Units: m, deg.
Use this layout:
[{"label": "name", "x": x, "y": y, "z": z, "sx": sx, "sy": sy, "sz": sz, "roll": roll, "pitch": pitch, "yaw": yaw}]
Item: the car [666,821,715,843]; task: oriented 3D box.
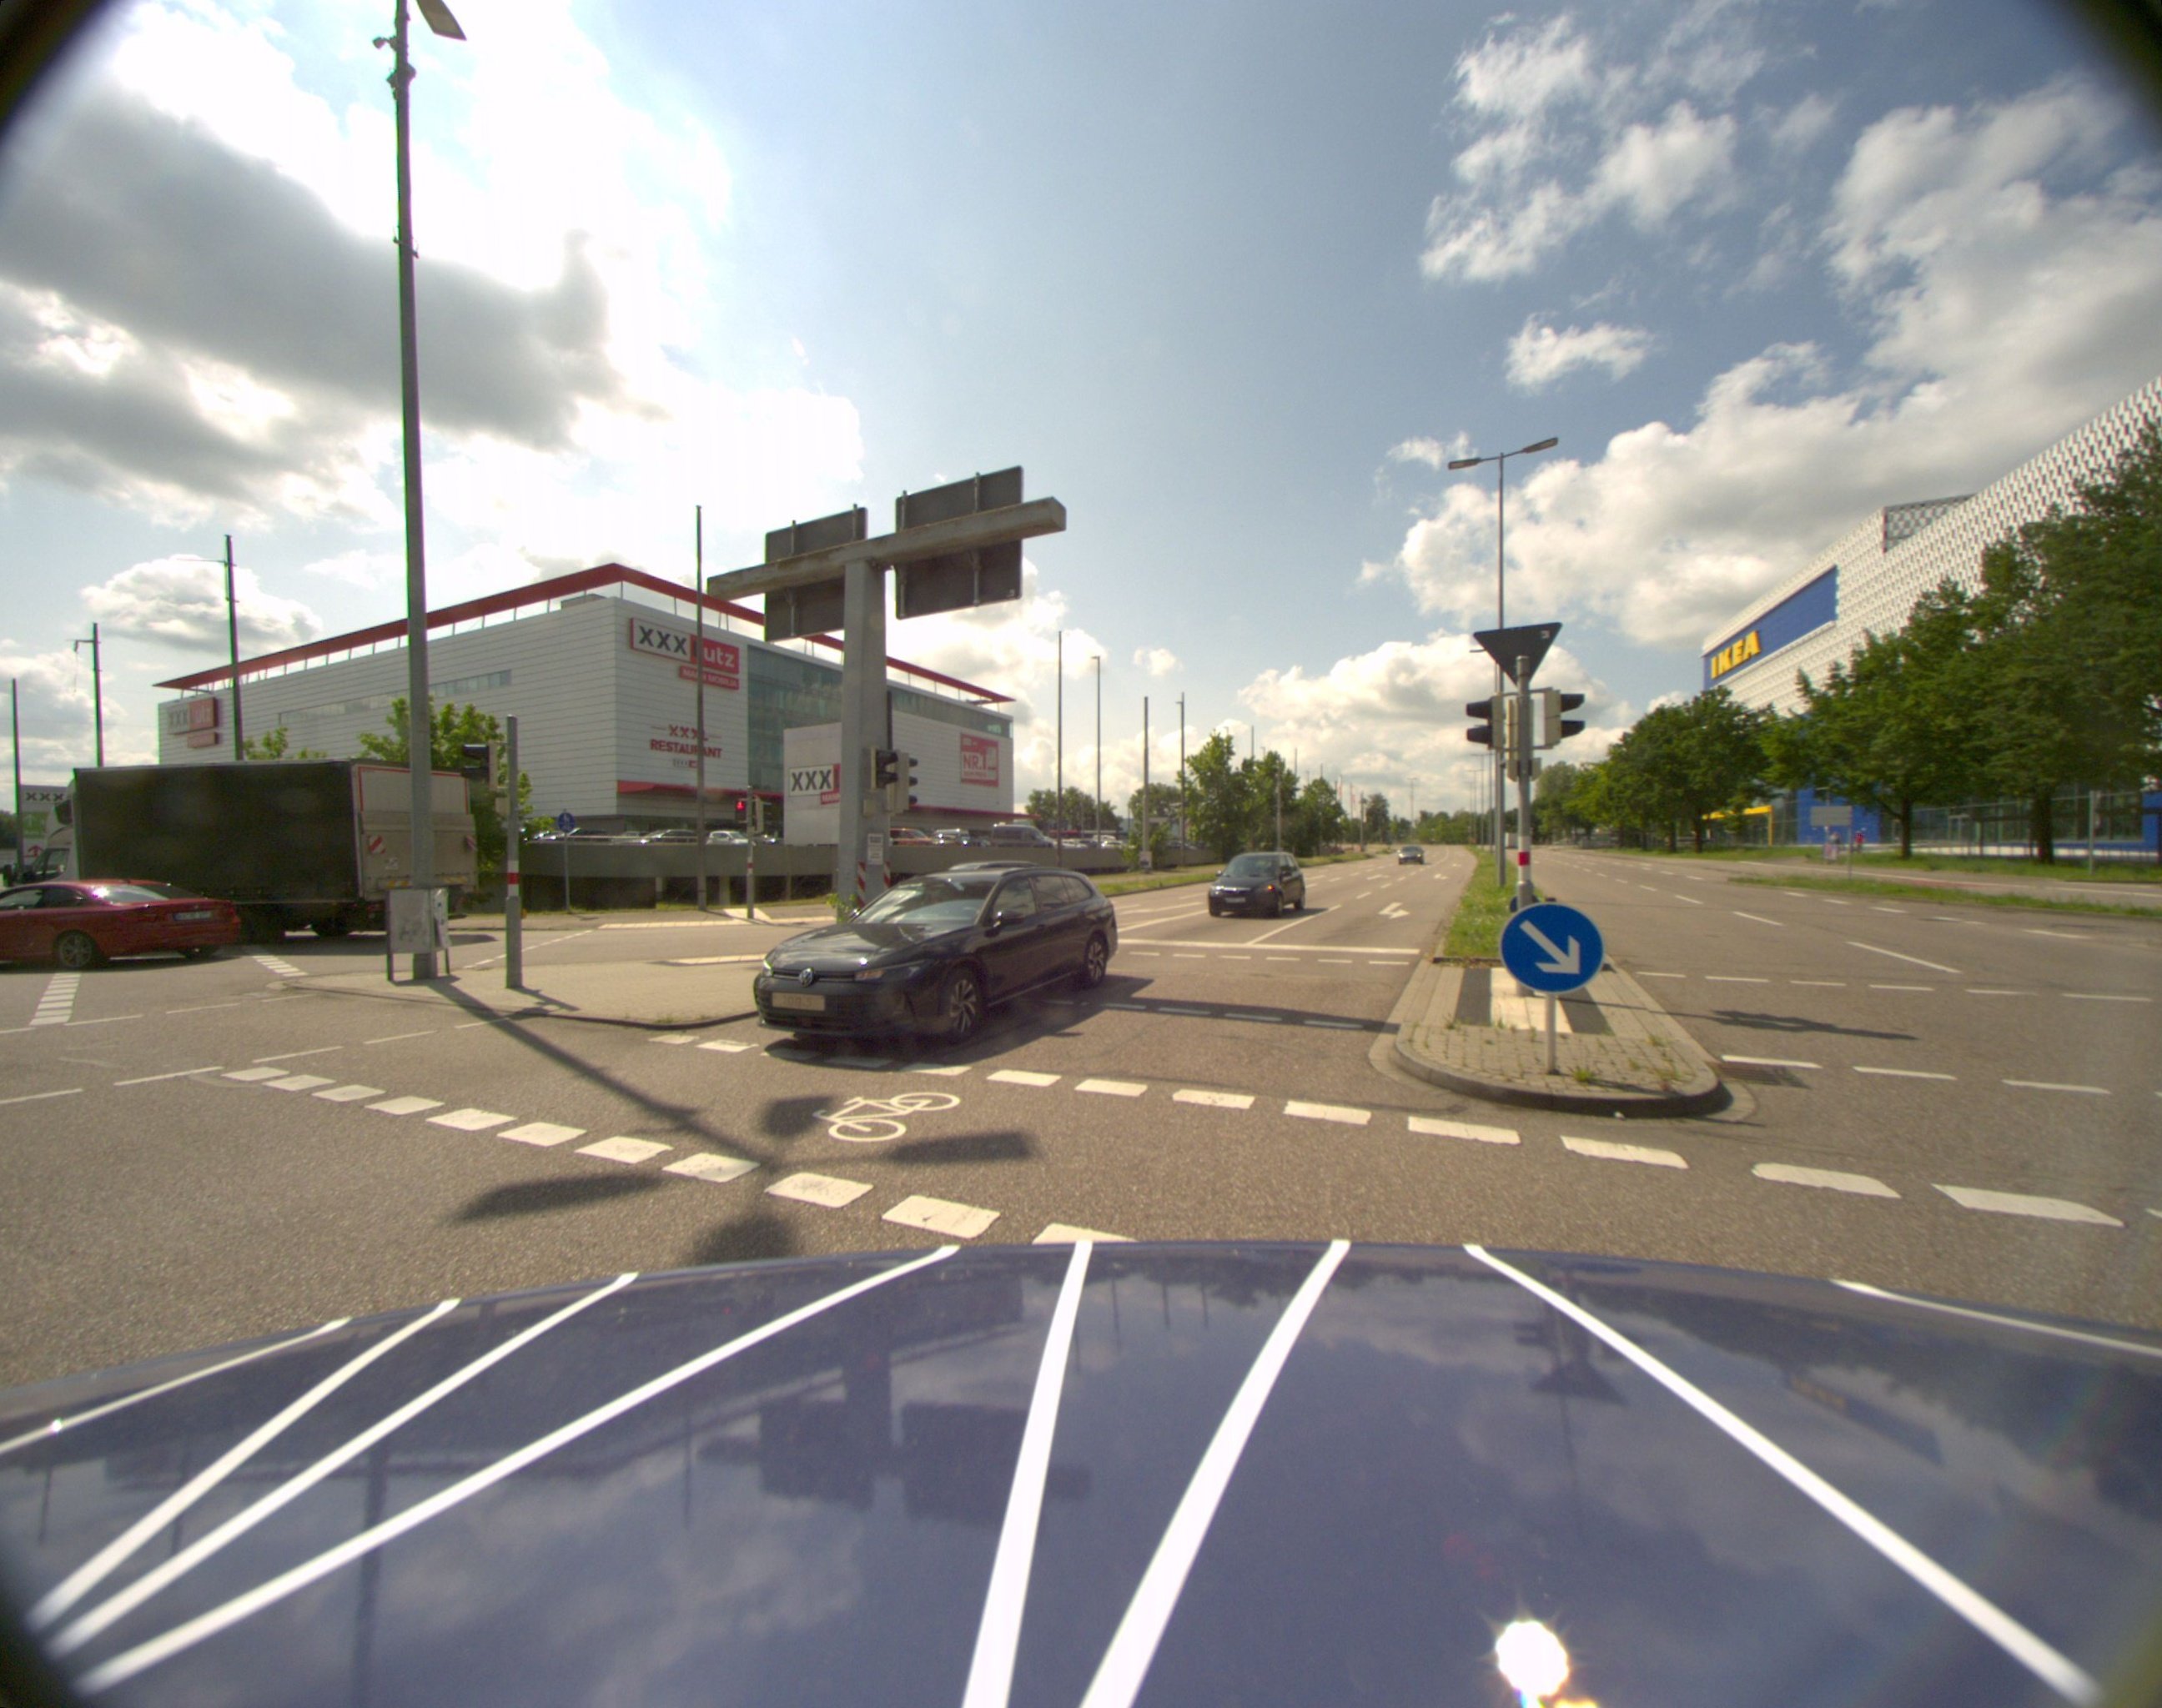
[{"label": "car", "x": -35.525, "y": -1.954, "z": 69.098, "sx": 4.412, "sy": 1.813, "sz": 1.562, "roll": -2, "pitch": 0, "yaw": 25}]

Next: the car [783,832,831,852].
[{"label": "car", "x": -25.766, "y": -1.104, "z": 71.401, "sx": 3.990, "sy": 1.740, "sz": 1.920, "roll": -2, "pitch": 1, "yaw": 27}]

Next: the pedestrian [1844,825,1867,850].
[{"label": "pedestrian", "x": 56.570, "y": -1.206, "z": 55.506, "sx": 0.852, "sy": 1.718, "sz": 1.167, "roll": -2, "pitch": 1, "yaw": 30}]

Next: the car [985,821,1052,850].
[{"label": "car", "x": -5.615, "y": -1.650, "z": 68.375, "sx": 5.785, "sy": 2.270, "sz": 1.752, "roll": -2, "pitch": 1, "yaw": 25}]

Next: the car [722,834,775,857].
[{"label": "car", "x": -28.260, "y": -0.738, "z": 64.600, "sx": 3.990, "sy": 1.740, "sz": 1.920, "roll": -2, "pitch": 1, "yaw": 27}]

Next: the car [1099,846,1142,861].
[{"label": "car", "x": 4.517, "y": -0.075, "z": 86.170, "sx": 4.412, "sy": 1.596, "sz": 1.958, "roll": -2, "pitch": 0, "yaw": 27}]

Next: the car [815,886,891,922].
[{"label": "car", "x": -13.059, "y": 2.843, "z": 43.828, "sx": 1.995, "sy": 1.739, "sz": 4.006, "roll": -1, "pitch": 0, "yaw": 25}]

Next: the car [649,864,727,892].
[{"label": "car", "x": -26.851, "y": 1.602, "z": 52.079, "sx": 1.995, "sy": 1.739, "sz": 4.371, "roll": -1, "pitch": 0, "yaw": 25}]

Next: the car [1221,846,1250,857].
[{"label": "car", "x": 25.986, "y": -0.415, "z": 128.156, "sx": 4.412, "sy": 1.596, "sz": 1.958, "roll": -2, "pitch": 0, "yaw": 27}]

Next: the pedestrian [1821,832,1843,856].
[{"label": "pedestrian", "x": 55.533, "y": -0.723, "z": 56.185, "sx": 0.852, "sy": 1.718, "sz": 1.167, "roll": -2, "pitch": 1, "yaw": 30}]

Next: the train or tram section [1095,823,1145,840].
[{"label": "train or tram section", "x": 10.461, "y": -6.062, "z": 205.415, "sx": 13.072, "sy": 4.346, "sz": 3.738, "roll": 0, "pitch": 2, "yaw": 26}]

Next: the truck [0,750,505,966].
[{"label": "truck", "x": -18.424, "y": 0.142, "z": 16.864, "sx": 9.059, "sy": 4.004, "sz": 3.224, "roll": -2, "pitch": 1, "yaw": 6}]

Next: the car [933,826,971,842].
[{"label": "car", "x": -15.123, "y": -2.318, "z": 89.327, "sx": 3.990, "sy": 1.740, "sz": 1.920, "roll": -2, "pitch": 1, "yaw": 27}]

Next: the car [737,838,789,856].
[{"label": "car", "x": -27.781, "y": -0.590, "z": 66.349, "sx": 4.412, "sy": 1.462, "sz": 1.562, "roll": -2, "pitch": 0, "yaw": 25}]

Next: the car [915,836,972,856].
[{"label": "car", "x": -11.659, "y": -0.672, "z": 64.442, "sx": 4.412, "sy": 1.596, "sz": 1.958, "roll": -2, "pitch": 0, "yaw": 27}]

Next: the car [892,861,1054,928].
[{"label": "car", "x": -2.702, "y": 0.998, "z": 20.280, "sx": 1.775, "sy": 1.469, "sz": 4.687, "roll": -1, "pitch": 0, "yaw": 29}]

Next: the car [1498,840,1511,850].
[{"label": "car", "x": 77.005, "y": -1.610, "z": 138.294, "sx": 1.938, "sy": 1.674, "sz": 4.007, "roll": -2, "pitch": 0, "yaw": 28}]

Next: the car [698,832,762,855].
[{"label": "car", "x": -26.801, "y": -0.778, "z": 57.993, "sx": 4.412, "sy": 1.463, "sz": 1.957, "roll": -2, "pitch": 5, "yaw": 25}]

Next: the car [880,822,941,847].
[{"label": "car", "x": -13.390, "y": -1.526, "z": 59.635, "sx": 4.181, "sy": 1.740, "sz": 1.918, "roll": -2, "pitch": 1, "yaw": 14}]

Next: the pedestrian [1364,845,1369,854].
[{"label": "pedestrian", "x": 55.106, "y": -0.846, "z": 146.475, "sx": 0.527, "sy": 1.803, "sz": 0.676, "roll": -3, "pitch": 1, "yaw": -29}]

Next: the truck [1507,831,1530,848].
[{"label": "truck", "x": 74.760, "y": -2.485, "z": 129.952, "sx": 2.967, "sy": 2.736, "sz": 5.794, "roll": -2, "pitch": 0, "yaw": 26}]

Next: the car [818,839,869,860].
[{"label": "car", "x": -20.821, "y": -0.398, "z": 66.728, "sx": 3.990, "sy": 1.740, "sz": 1.920, "roll": -2, "pitch": 1, "yaw": 27}]

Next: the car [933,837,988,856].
[{"label": "car", "x": -10.623, "y": -0.646, "z": 67.003, "sx": 4.412, "sy": 1.596, "sz": 1.958, "roll": -1, "pitch": 0, "yaw": 29}]

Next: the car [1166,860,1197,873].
[{"label": "car", "x": 15.238, "y": 1.955, "z": 115.444, "sx": 4.413, "sy": 1.754, "sz": 1.562, "roll": -2, "pitch": 1, "yaw": 25}]

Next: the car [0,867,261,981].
[{"label": "car", "x": -16.890, "y": 1.147, "z": 12.731, "sx": 4.215, "sy": 1.646, "sz": 1.865, "roll": -2, "pitch": 1, "yaw": 1}]

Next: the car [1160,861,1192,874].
[{"label": "car", "x": 13.988, "y": 1.982, "z": 111.706, "sx": 4.413, "sy": 1.754, "sz": 1.562, "roll": -2, "pitch": 1, "yaw": 25}]

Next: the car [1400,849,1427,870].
[{"label": "car", "x": 25.721, "y": 0.426, "z": 58.705, "sx": 1.603, "sy": 1.521, "sz": 4.277, "roll": -1, "pitch": 0, "yaw": 27}]

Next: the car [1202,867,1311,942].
[{"label": "car", "x": 4.488, "y": 1.145, "z": 18.932, "sx": 1.603, "sy": 1.521, "sz": 4.277, "roll": -1, "pitch": 1, "yaw": 27}]

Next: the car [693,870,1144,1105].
[{"label": "car", "x": -1.131, "y": 1.006, "z": 8.029, "sx": 1.810, "sy": 1.469, "sz": 5.213, "roll": -1, "pitch": 0, "yaw": 26}]

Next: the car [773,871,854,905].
[{"label": "car", "x": -15.904, "y": 1.998, "z": 45.390, "sx": 1.995, "sy": 1.739, "sz": 4.371, "roll": -1, "pitch": 0, "yaw": 25}]

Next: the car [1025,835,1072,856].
[{"label": "car", "x": -3.089, "y": -0.809, "z": 71.889, "sx": 3.990, "sy": 1.783, "sz": 1.752, "roll": -2, "pitch": 1, "yaw": 29}]

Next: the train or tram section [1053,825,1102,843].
[{"label": "train or tram section", "x": -0.986, "y": -5.509, "z": 210.902, "sx": 13.074, "sy": 4.534, "sz": 3.738, "roll": -2, "pitch": 1, "yaw": 26}]
